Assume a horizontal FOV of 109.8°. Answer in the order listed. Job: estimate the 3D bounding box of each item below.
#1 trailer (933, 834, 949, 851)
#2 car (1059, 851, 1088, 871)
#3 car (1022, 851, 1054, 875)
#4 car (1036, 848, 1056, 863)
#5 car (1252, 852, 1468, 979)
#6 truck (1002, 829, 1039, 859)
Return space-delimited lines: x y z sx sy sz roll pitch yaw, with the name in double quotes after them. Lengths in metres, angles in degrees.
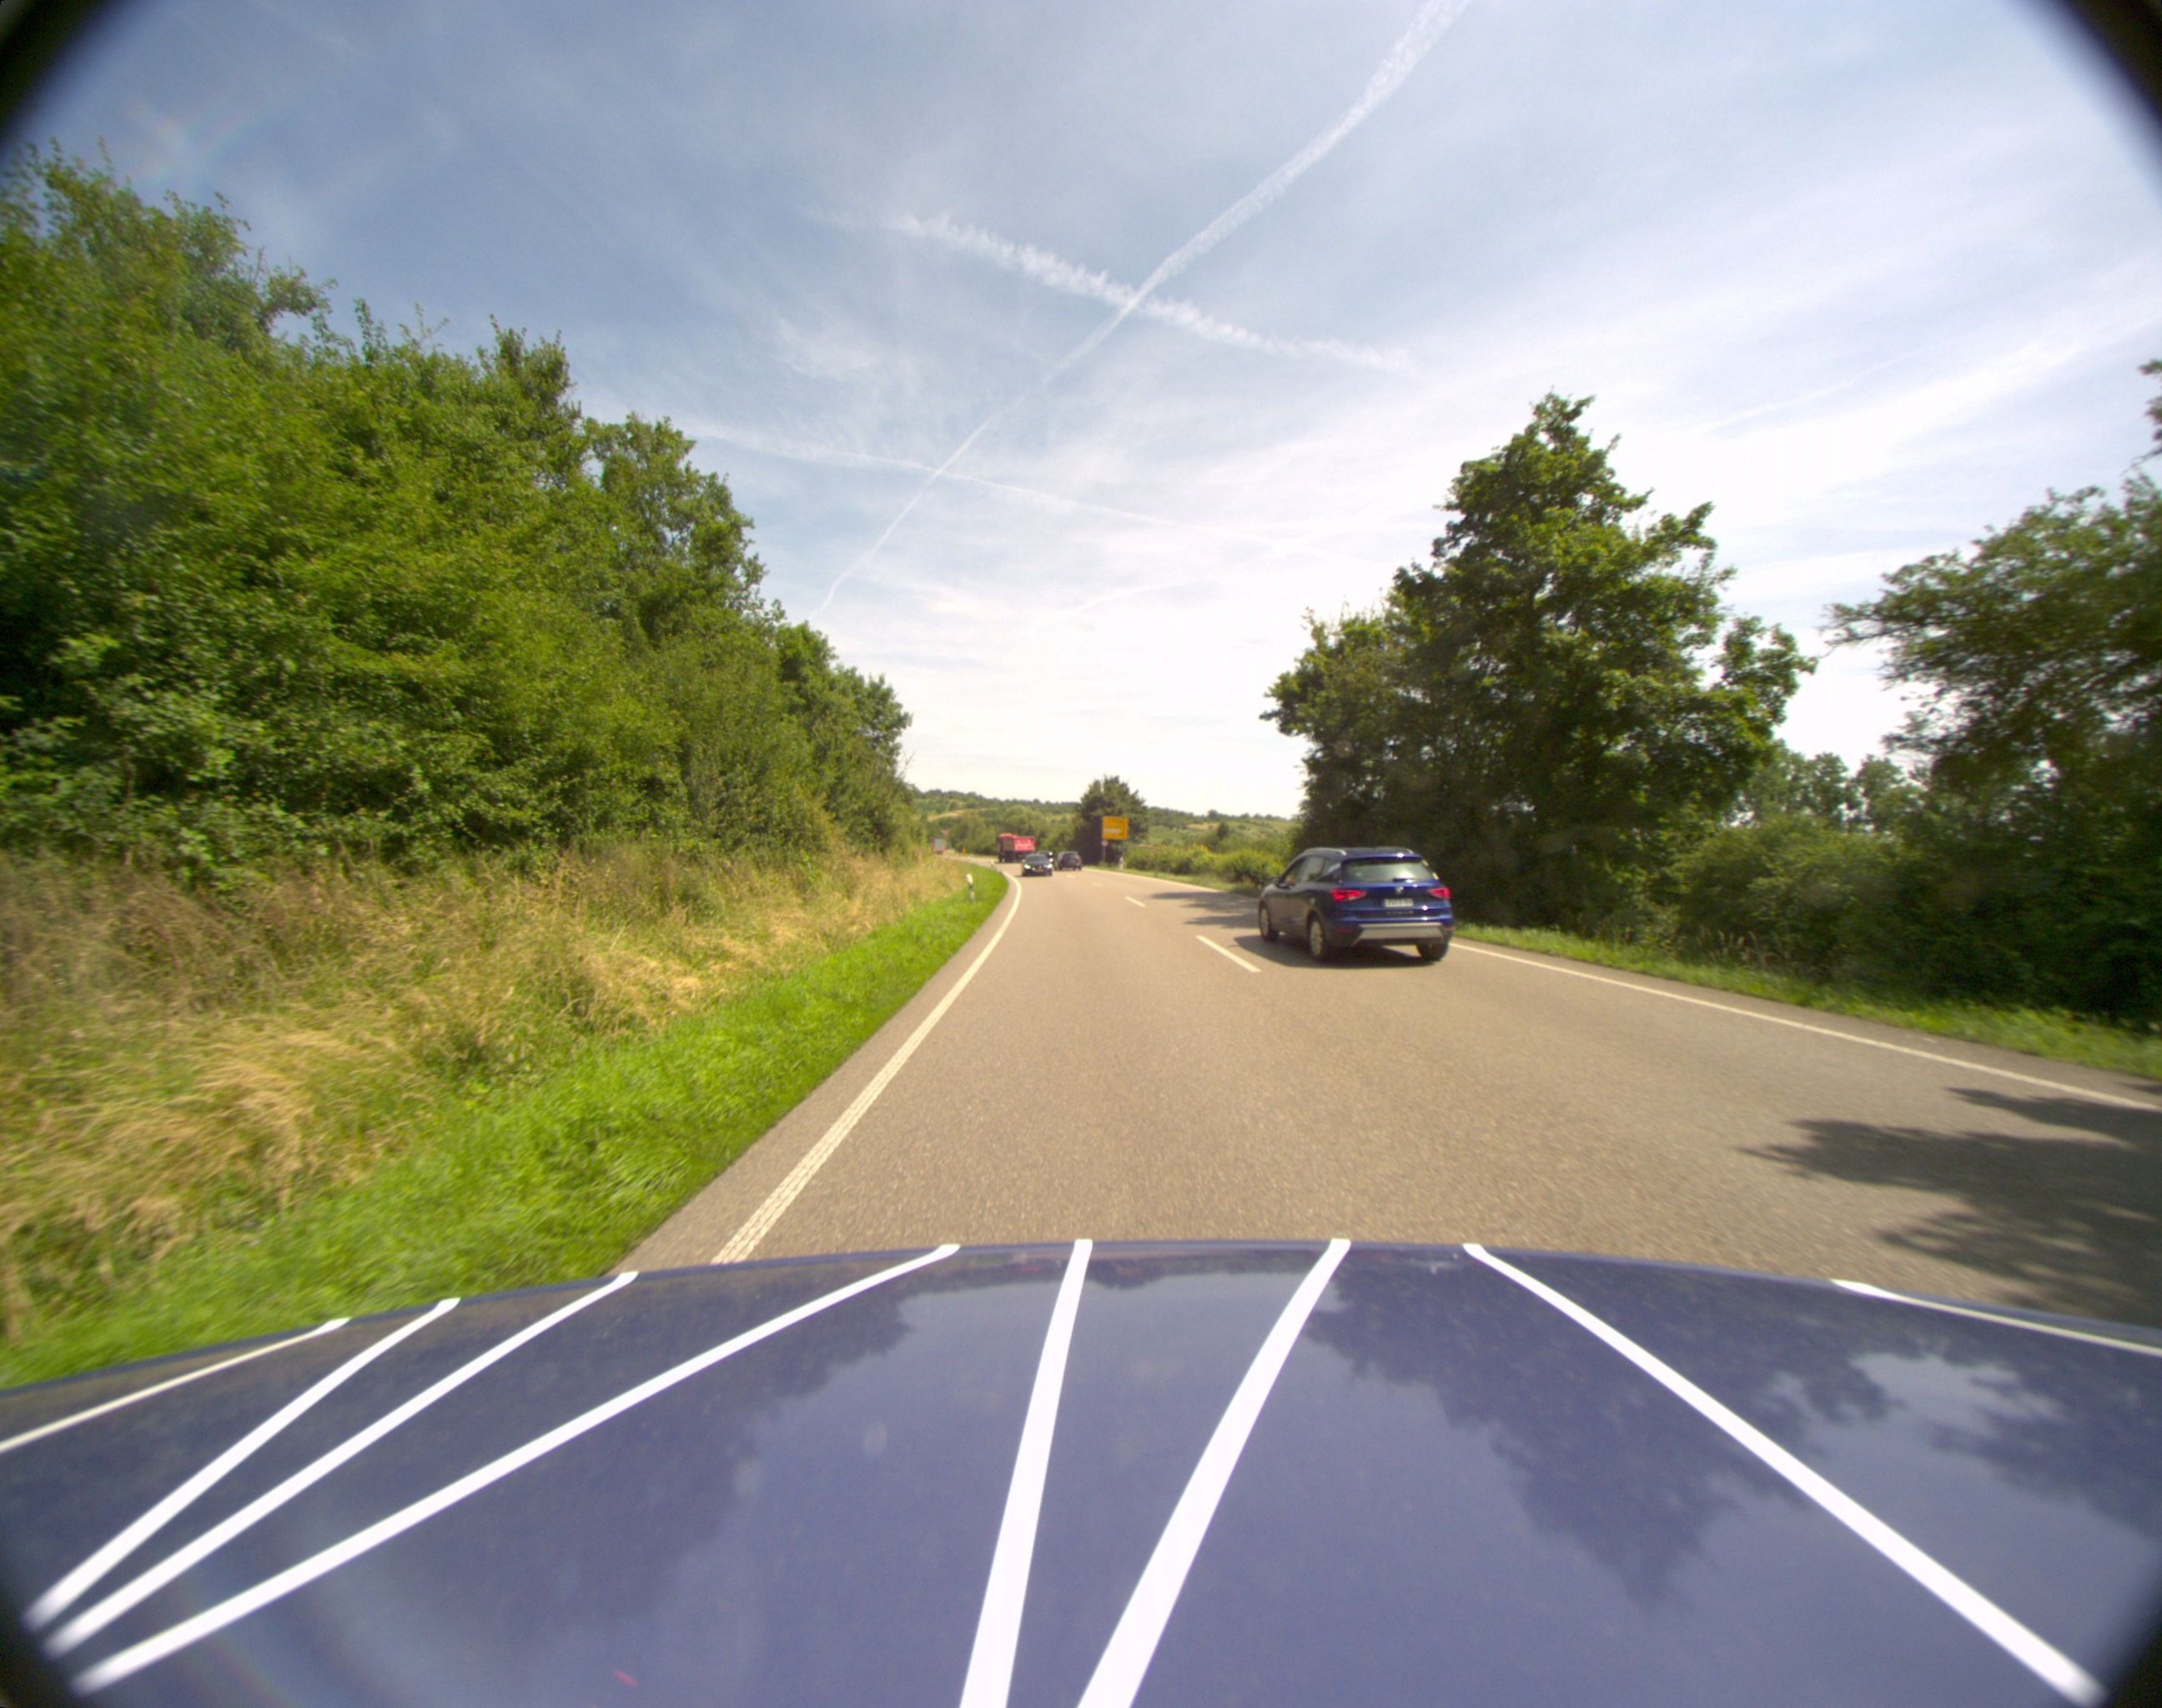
-34.011 -2.753 184.443 2.578 4.084 13.640 -1 1 -16 "trailer"
-0.628 0.506 58.933 1.715 1.462 4.372 -1 1 -7 "car"
-2.851 0.571 49.854 1.786 1.440 4.601 -1 0 -7 "car"
-3.513 0.137 76.052 1.434 1.462 3.268 -1 1 -13 "car"
3.846 0.743 11.237 1.674 1.522 3.957 0 0 -1 "car"
-7.640 -1.168 93.992 2.562 3.432 12.618 -1 0 -14 "truck"
